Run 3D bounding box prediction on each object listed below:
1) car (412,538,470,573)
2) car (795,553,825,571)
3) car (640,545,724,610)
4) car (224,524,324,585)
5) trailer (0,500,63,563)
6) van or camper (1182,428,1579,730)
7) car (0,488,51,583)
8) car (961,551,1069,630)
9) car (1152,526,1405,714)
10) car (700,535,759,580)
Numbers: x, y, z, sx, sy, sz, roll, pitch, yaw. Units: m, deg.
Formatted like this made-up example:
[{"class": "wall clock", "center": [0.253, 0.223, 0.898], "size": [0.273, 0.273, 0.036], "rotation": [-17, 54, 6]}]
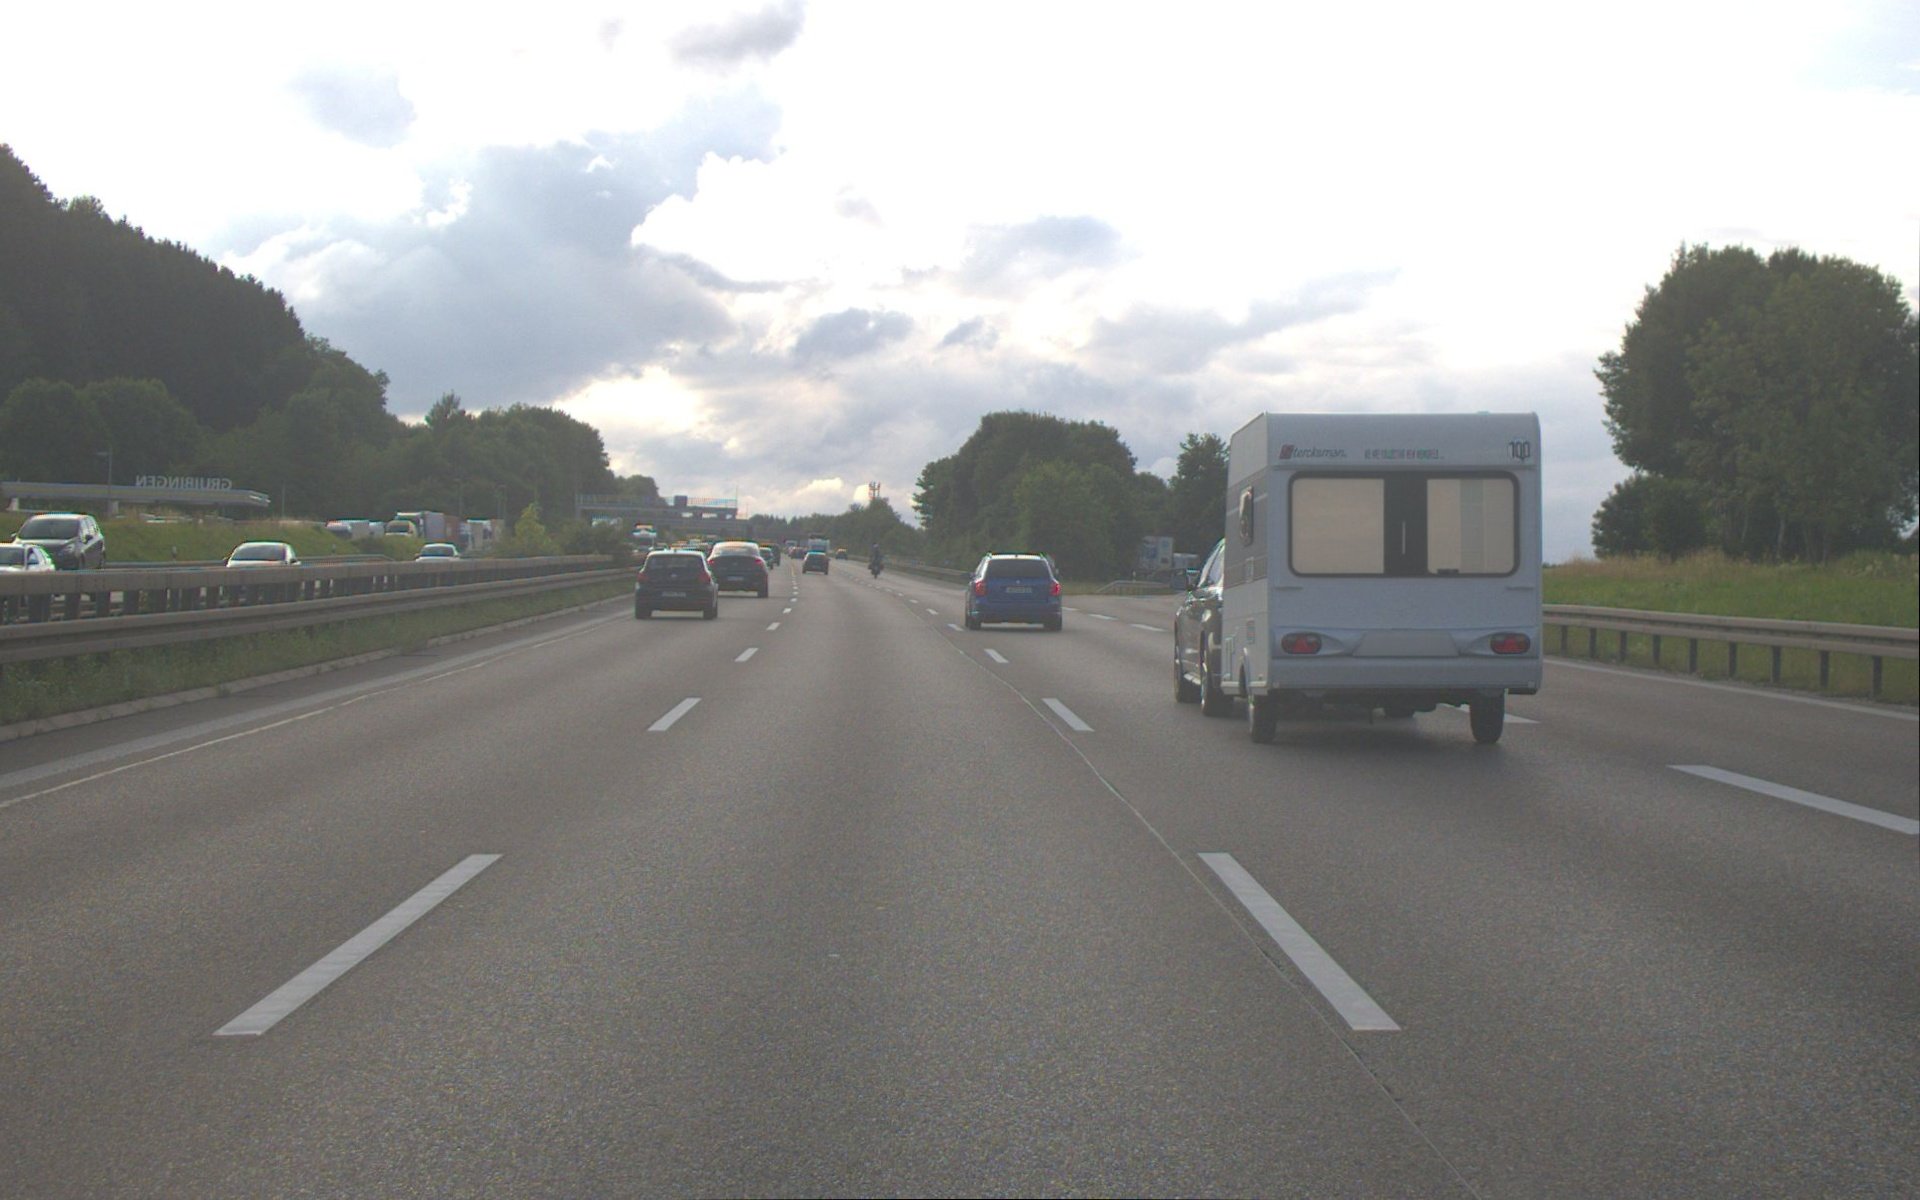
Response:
[{"class": "car", "center": [-21.347, -1.831, 141.408], "size": [1.951, 1.443, 3.873], "rotation": [0, 1, -2]}, {"class": "car", "center": [-10.037, -2.555, 229.937], "size": [1.750, 1.218, 4.001], "rotation": [0, 1, -7]}, {"class": "car", "center": [-5.916, -0.494, 73.509], "size": [1.538, 1.343, 3.677], "rotation": [1, 1, -1]}, {"class": "car", "center": [-18.018, -1.209, 90.427], "size": [1.951, 1.470, 3.873], "rotation": [-3, 1, -2]}, {"class": "trailer", "center": [-47.079, -3.359, 170.206], "size": [2.579, 2.844, 11.381], "rotation": [1, 0, -2]}, {"class": "van or camper", "center": [3.308, -0.127, 28.298], "size": [2.548, 2.232, 5.329], "rotation": [1, -1, -1]}, {"class": "car", "center": [-22.304, -1.471, 78.753], "size": [1.951, 2.106, 4.521], "rotation": [0, 1, -2]}, {"class": "car", "center": [1.017, -0.189, 65.407], "size": [1.766, 1.428, 4.000], "rotation": [-1, 0, -3]}, {"class": "car", "center": [2.961, 0.136, 32.829], "size": [1.786, 1.647, 4.482], "rotation": [1, 1, -3]}, {"class": "car", "center": [-7.173, -1.332, 107.252], "size": [1.565, 1.375, 4.000], "rotation": [0, 1, 0]}]
